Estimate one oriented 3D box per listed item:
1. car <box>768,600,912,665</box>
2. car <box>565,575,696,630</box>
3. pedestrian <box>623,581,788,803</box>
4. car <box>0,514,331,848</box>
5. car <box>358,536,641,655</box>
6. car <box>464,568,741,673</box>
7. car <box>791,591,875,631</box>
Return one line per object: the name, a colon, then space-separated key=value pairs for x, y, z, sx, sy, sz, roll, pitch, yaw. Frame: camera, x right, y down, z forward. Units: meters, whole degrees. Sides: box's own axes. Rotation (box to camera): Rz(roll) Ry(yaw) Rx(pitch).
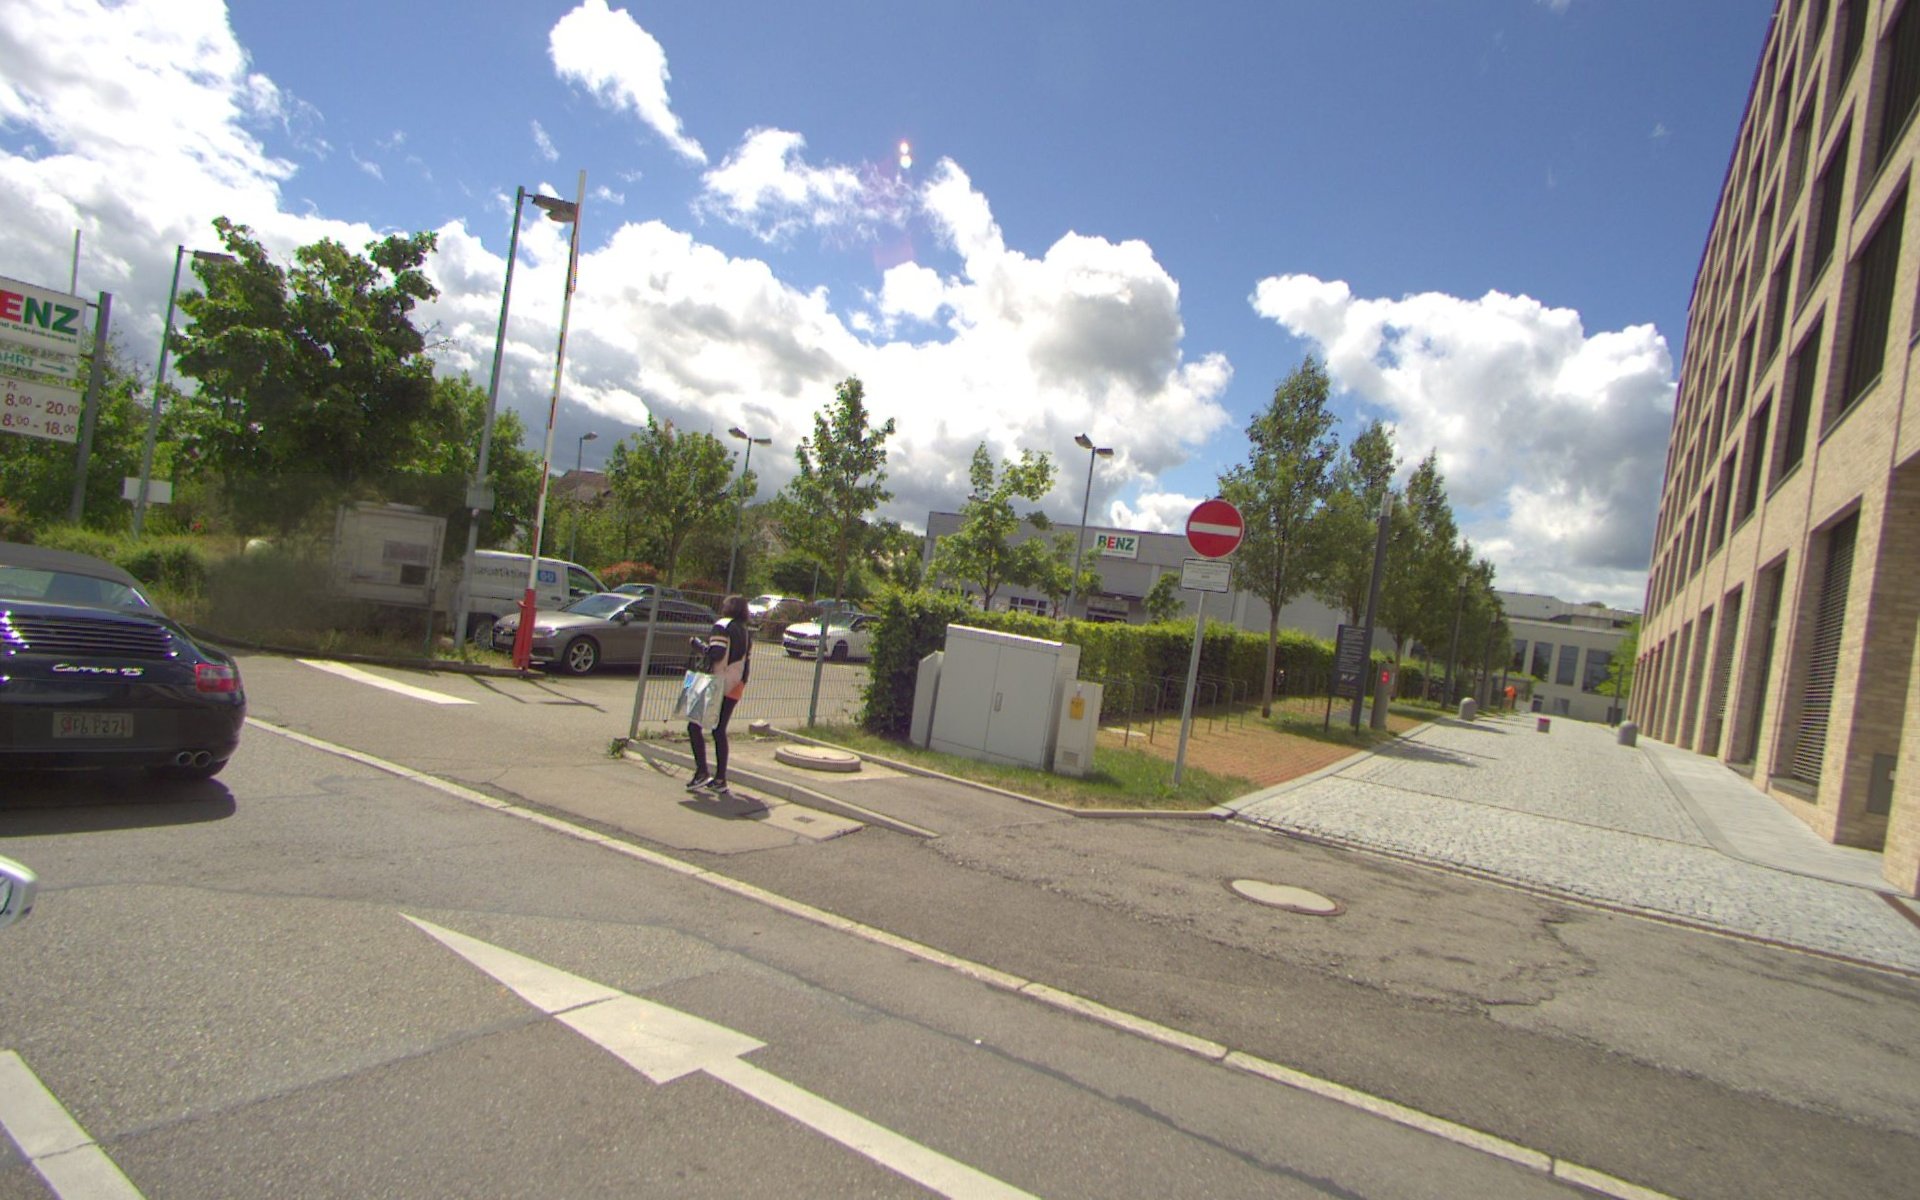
car: x=-3.434 y=1.005 z=29.697 sx=1.856 sy=1.509 sz=4.440 roll=7 pitch=0 yaw=29
car: x=-11.076 y=0.105 z=34.093 sx=1.856 sy=1.386 sz=3.878 roll=7 pitch=0 yaw=29
pedestrian: x=-1.986 y=0.698 z=7.865 sx=0.842 sy=1.555 sz=0.688 roll=8 pitch=0 yaw=32
car: x=-5.961 y=0.252 z=6.152 sx=4.139 sy=1.393 sz=1.933 roll=9 pitch=0 yaw=33
car: x=-8.790 y=0.005 z=19.728 sx=2.051 sy=1.871 sz=4.719 roll=6 pitch=0 yaw=25
car: x=-6.365 y=0.450 z=18.417 sx=1.967 sy=1.500 sz=4.437 roll=6 pitch=-1 yaw=32
car: x=-6.343 y=0.580 z=50.639 sx=1.890 sy=1.595 sz=4.299 roll=6 pitch=-1 yaw=29
